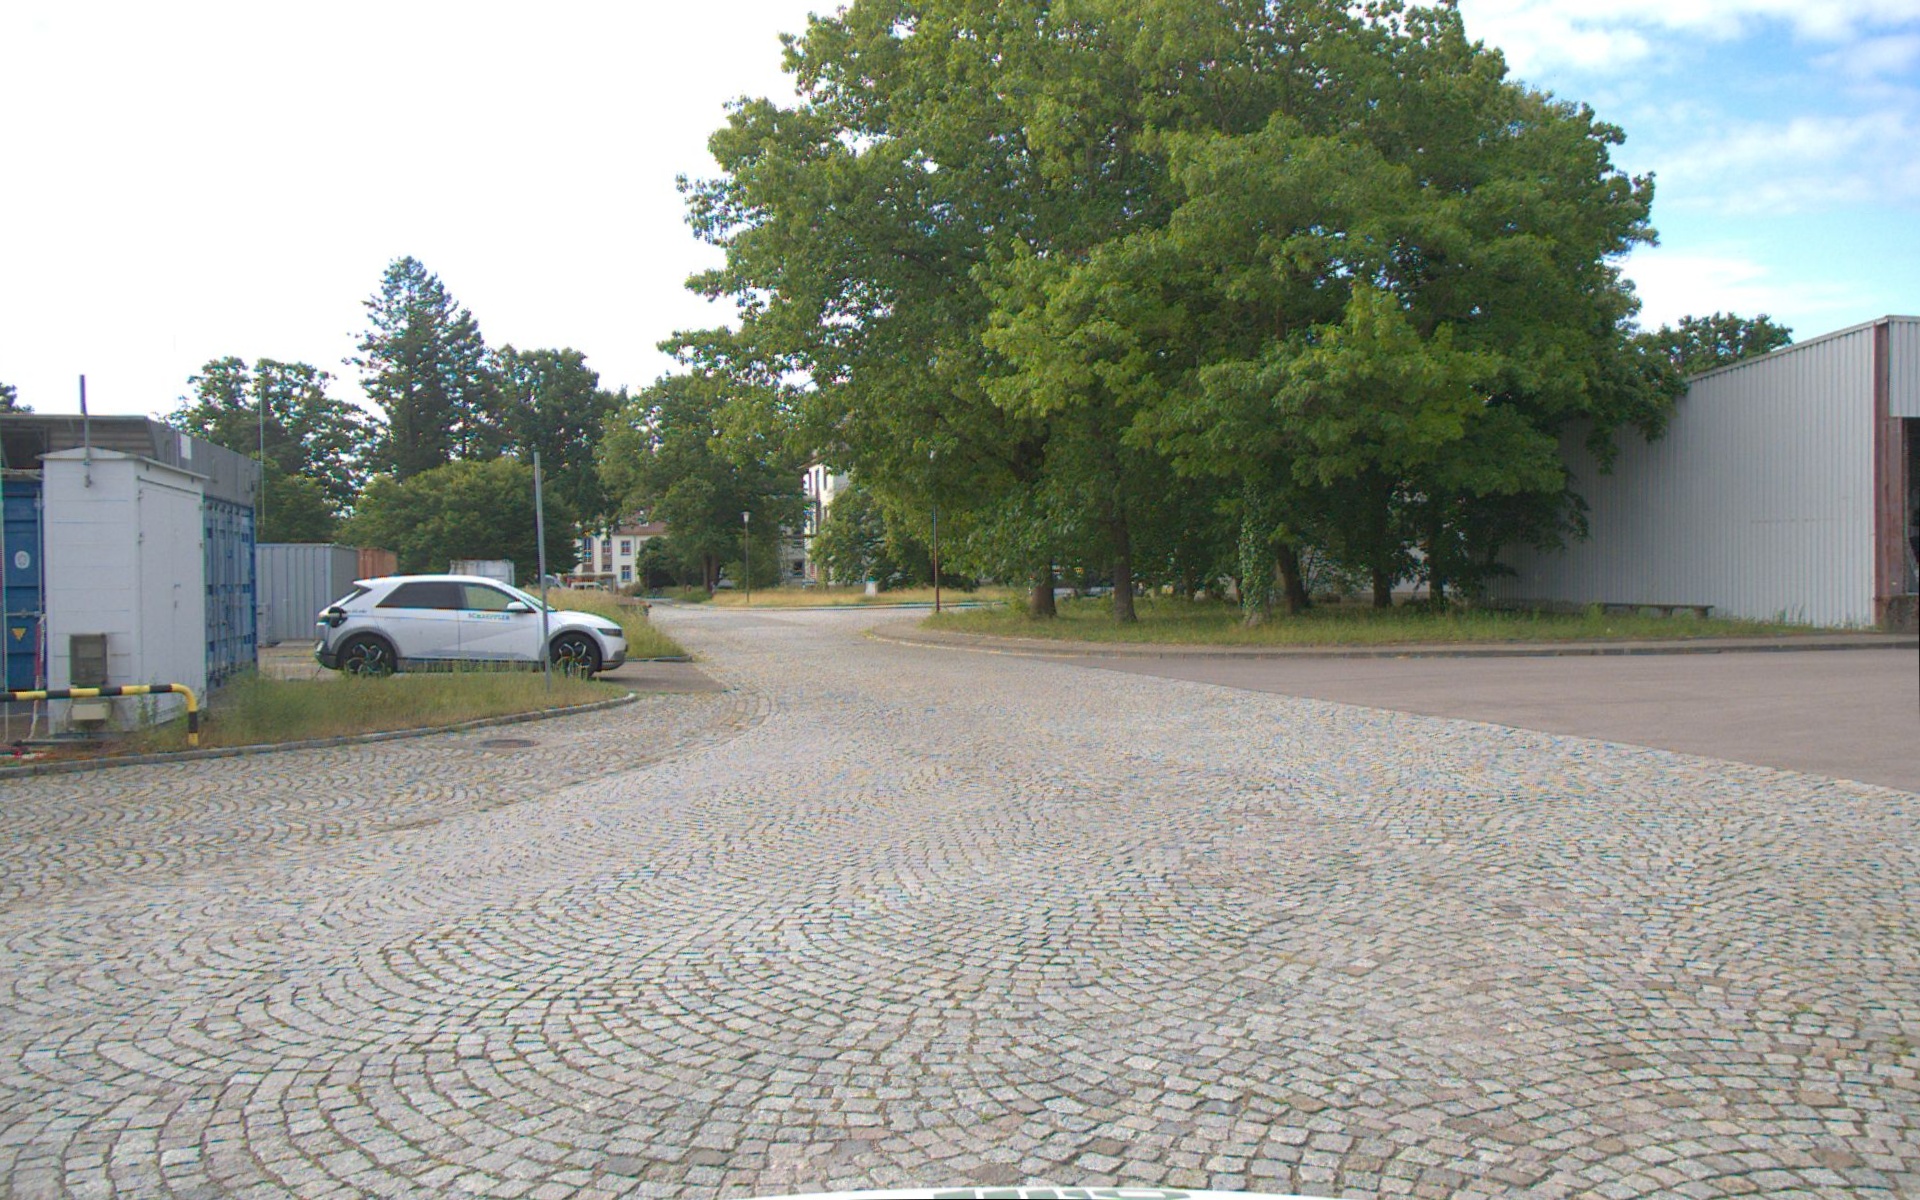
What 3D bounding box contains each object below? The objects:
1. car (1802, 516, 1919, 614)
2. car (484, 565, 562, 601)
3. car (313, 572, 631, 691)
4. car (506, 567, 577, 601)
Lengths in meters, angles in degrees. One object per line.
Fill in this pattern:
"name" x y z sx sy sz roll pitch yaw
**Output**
"car" 20.992 -0.764 35.535 2.204 2.049 5.315 -1 1 -15
"car" -30.136 -1.169 114.132 5.084 2.378 1.992 -2 1 -15
"car" -7.334 0.441 25.326 4.454 1.627 1.994 -2 1 -12
"car" -31.270 -1.191 123.679 5.084 2.378 1.992 -2 1 -15
